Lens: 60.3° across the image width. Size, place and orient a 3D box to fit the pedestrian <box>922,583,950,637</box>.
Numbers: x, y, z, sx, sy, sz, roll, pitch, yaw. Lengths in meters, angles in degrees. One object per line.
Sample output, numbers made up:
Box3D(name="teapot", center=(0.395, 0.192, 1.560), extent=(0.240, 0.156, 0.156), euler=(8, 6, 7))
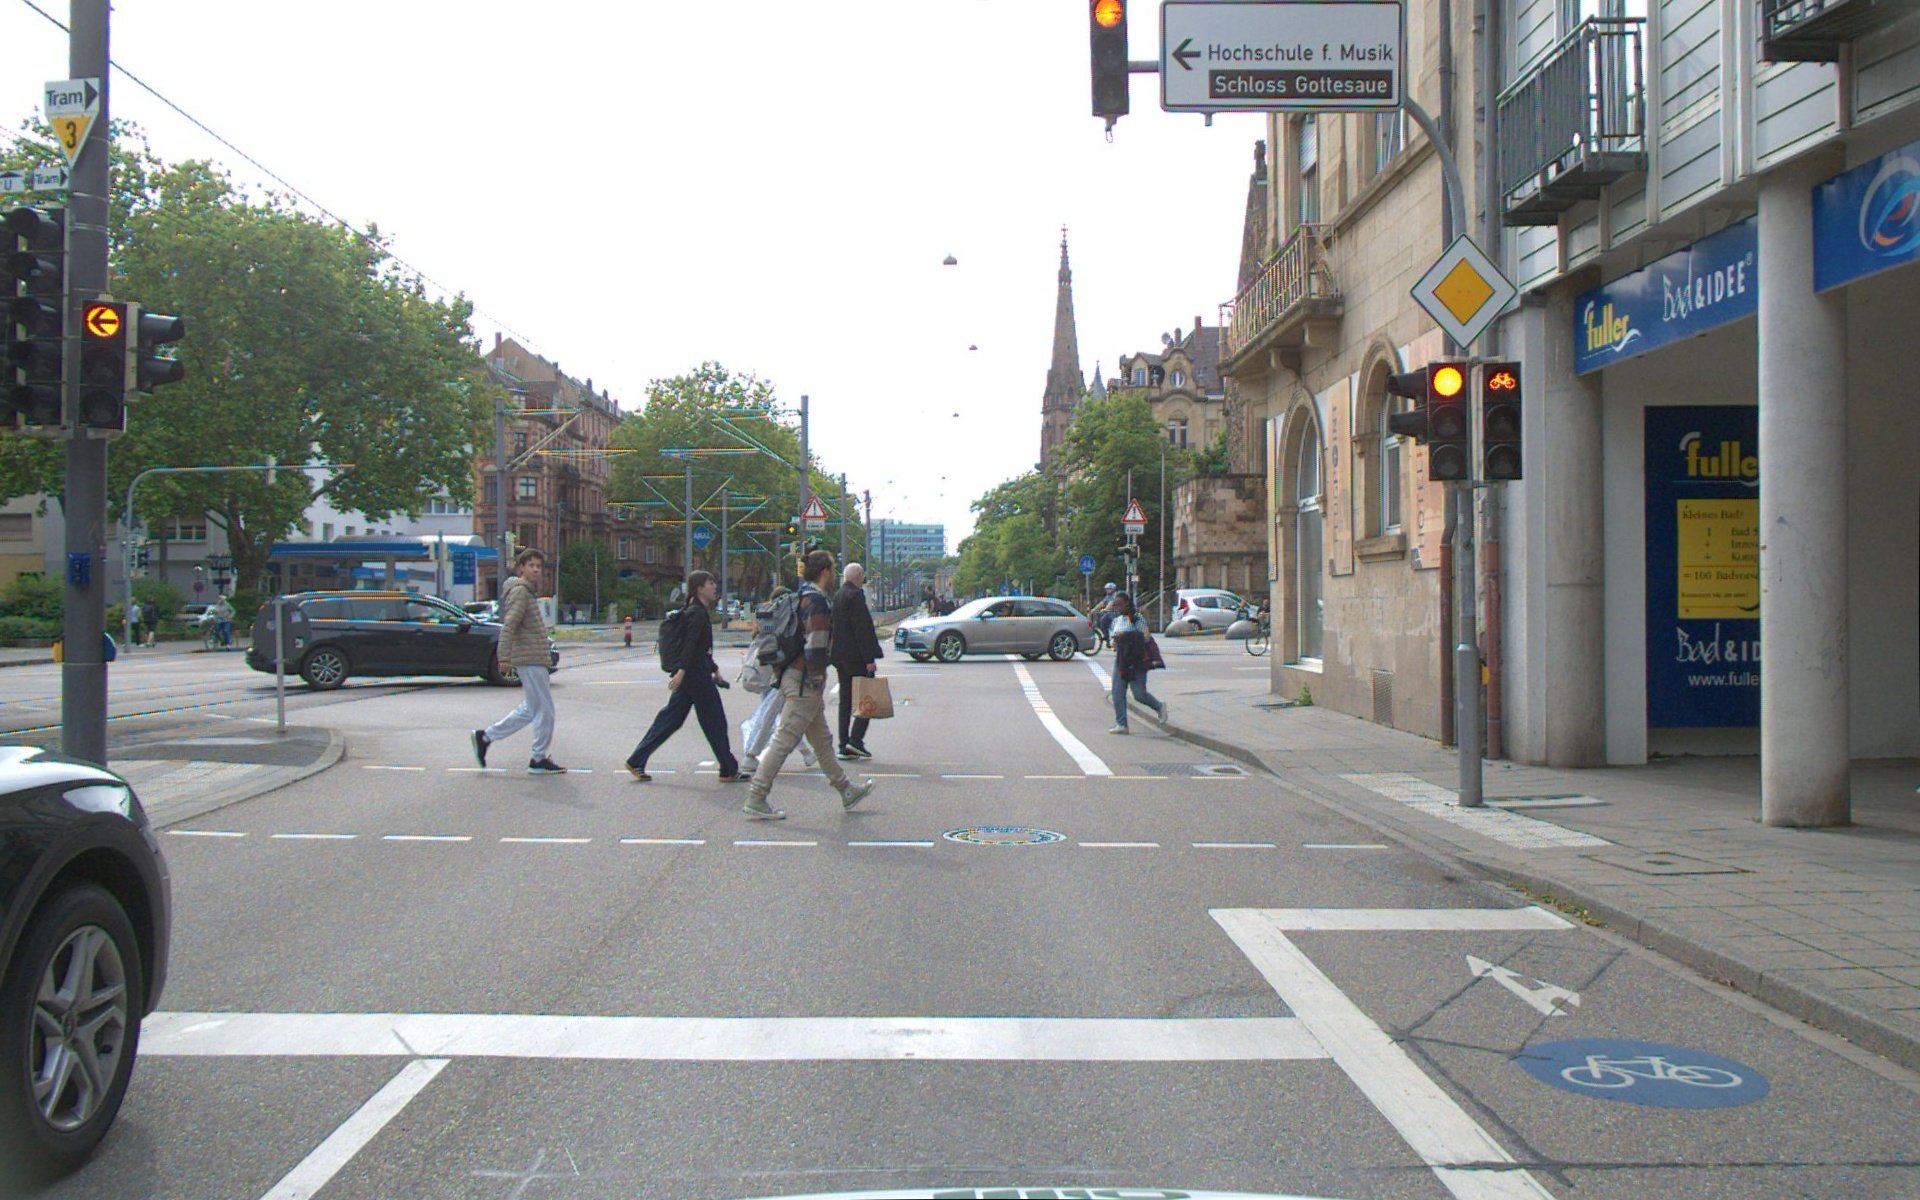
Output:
Box3D(name="pedestrian", center=(-0.736, 0.310, 51.640), extent=(0.834, 1.683, 0.508), euler=(1, -1, -3))

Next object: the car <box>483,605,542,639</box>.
Box3D(name="car", center=(-21.713, 1.060, 80.446), extent=(1.856, 1.585, 3.835), euler=(1, 0, -1))

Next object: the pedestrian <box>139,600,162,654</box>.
Box3D(name="pedestrian", center=(-27.164, 0.908, 55.475), extent=(0.367, 1.815, 0.551), euler=(1, -1, 30))

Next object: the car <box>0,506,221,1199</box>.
Box3D(name="car", center=(-2.986, 0.602, 2.534), extent=(1.842, 1.629, 4.356), euler=(0, 0, -2))

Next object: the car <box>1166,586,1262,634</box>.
Box3D(name="car", center=(10.727, 0.436, 70.106), extent=(3.721, 1.937, 2.000), euler=(1, 0, -1))

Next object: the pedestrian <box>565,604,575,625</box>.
Box3D(name="pedestrian", center=(-26.866, 1.007, 113.880), extent=(0.444, 1.486, 0.522), euler=(0, -1, 42))

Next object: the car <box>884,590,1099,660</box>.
Box3D(name="car", center=(0.731, 0.587, 38.335), extent=(4.653, 1.536, 1.826), euler=(1, 0, -23))

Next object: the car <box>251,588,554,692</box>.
Box3D(name="car", center=(-8.801, 0.620, 26.142), extent=(4.375, 1.536, 1.824), euler=(1, 0, -25))

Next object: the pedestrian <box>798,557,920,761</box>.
Box3D(name="pedestrian", center=(-0.927, 0.527, 15.240), extent=(0.900, 1.815, 0.645), euler=(0, -1, 37))

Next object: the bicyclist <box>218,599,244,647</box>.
Box3D(name="bicyclist", center=(-24.623, 0.782, 55.873), extent=(0.576, 1.595, 0.618), euler=(1, -1, -1))

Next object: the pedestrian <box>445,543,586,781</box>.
Box3D(name="pedestrian", center=(-3.581, 0.488, 13.322), extent=(0.998, 1.845, 0.580), euler=(1, -1, -24))

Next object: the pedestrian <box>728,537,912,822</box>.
Box3D(name="pedestrian", center=(-0.936, 0.505, 10.981), extent=(1.113, 1.810, 0.625), euler=(0, -1, -19))

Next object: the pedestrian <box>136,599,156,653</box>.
Box3D(name="pedestrian", center=(-27.257, 0.863, 55.406), extent=(0.367, 1.815, 0.448), euler=(1, -1, 32))

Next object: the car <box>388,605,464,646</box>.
Box3D(name="car", center=(-21.448, 1.008, 66.570), extent=(1.856, 1.585, 3.835), euler=(1, 0, -1))

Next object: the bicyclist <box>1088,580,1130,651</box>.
Box3D(name="bicyclist", center=(3.909, 0.406, 43.304), extent=(0.955, 1.851, 0.527), euler=(1, -1, -30))

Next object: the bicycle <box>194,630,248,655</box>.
Box3D(name="bicycle", center=(-24.926, 1.420, 55.767), extent=(1.645, 0.786, 0.656), euler=(1, 0, 19))

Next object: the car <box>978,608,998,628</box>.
Box3D(name="car", center=(2.971, 1.930, 173.980), extent=(1.953, 2.049, 3.999), euler=(1, 0, -1))

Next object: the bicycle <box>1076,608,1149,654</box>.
Box3D(name="bicycle", center=(4.007, 0.812, 43.365), extent=(1.880, 1.162, 0.622), euler=(1, -1, -30))

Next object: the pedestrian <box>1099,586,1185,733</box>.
Box3D(name="pedestrian", center=(2.172, 0.693, 19.720), extent=(0.659, 1.709, 0.865), euler=(0, -1, 38))

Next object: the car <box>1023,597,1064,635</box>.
Box3D(name="car", center=(4.613, 0.868, 91.923), extent=(1.953, 2.049, 3.999), euler=(1, 0, -1))

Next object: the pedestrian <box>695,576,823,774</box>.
Box3D(name="pedestrian", center=(-1.712, 0.618, 14.107), extent=(0.689, 1.621, 0.828), euler=(0, -1, 36))

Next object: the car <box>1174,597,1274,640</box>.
Box3D(name="car", center=(10.617, 0.749, 66.690), extent=(3.721, 1.629, 2.000), euler=(1, 0, -1))

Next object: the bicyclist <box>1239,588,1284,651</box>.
Box3D(name="bicyclist", center=(8.257, 0.526, 45.359), extent=(1.023, 1.713, 0.641), euler=(1, -1, -21))

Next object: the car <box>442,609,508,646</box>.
Box3D(name="car", center=(-21.545, 1.200, 73.590), extent=(1.856, 1.585, 3.835), euler=(1, 0, -1))

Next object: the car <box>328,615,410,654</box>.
Box3D(name="car", center=(-21.475, 1.235, 60.256), extent=(1.601, 1.348, 3.999), euler=(1, 0, -1))

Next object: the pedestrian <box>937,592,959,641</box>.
Box3D(name="pedestrian", center=(-0.386, 0.542, 53.620), extent=(0.640, 1.564, 0.465), euler=(1, -1, -5))

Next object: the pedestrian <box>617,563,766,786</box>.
Box3D(name="pedestrian", center=(-2.107, 0.565, 13.035), extent=(0.616, 1.681, 0.993), euler=(0, -1, 36))

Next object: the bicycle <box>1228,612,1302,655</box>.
Box3D(name="bicycle", center=(8.362, 0.924, 45.388), extent=(1.910, 1.155, 0.731), euler=(1, -1, -22))
